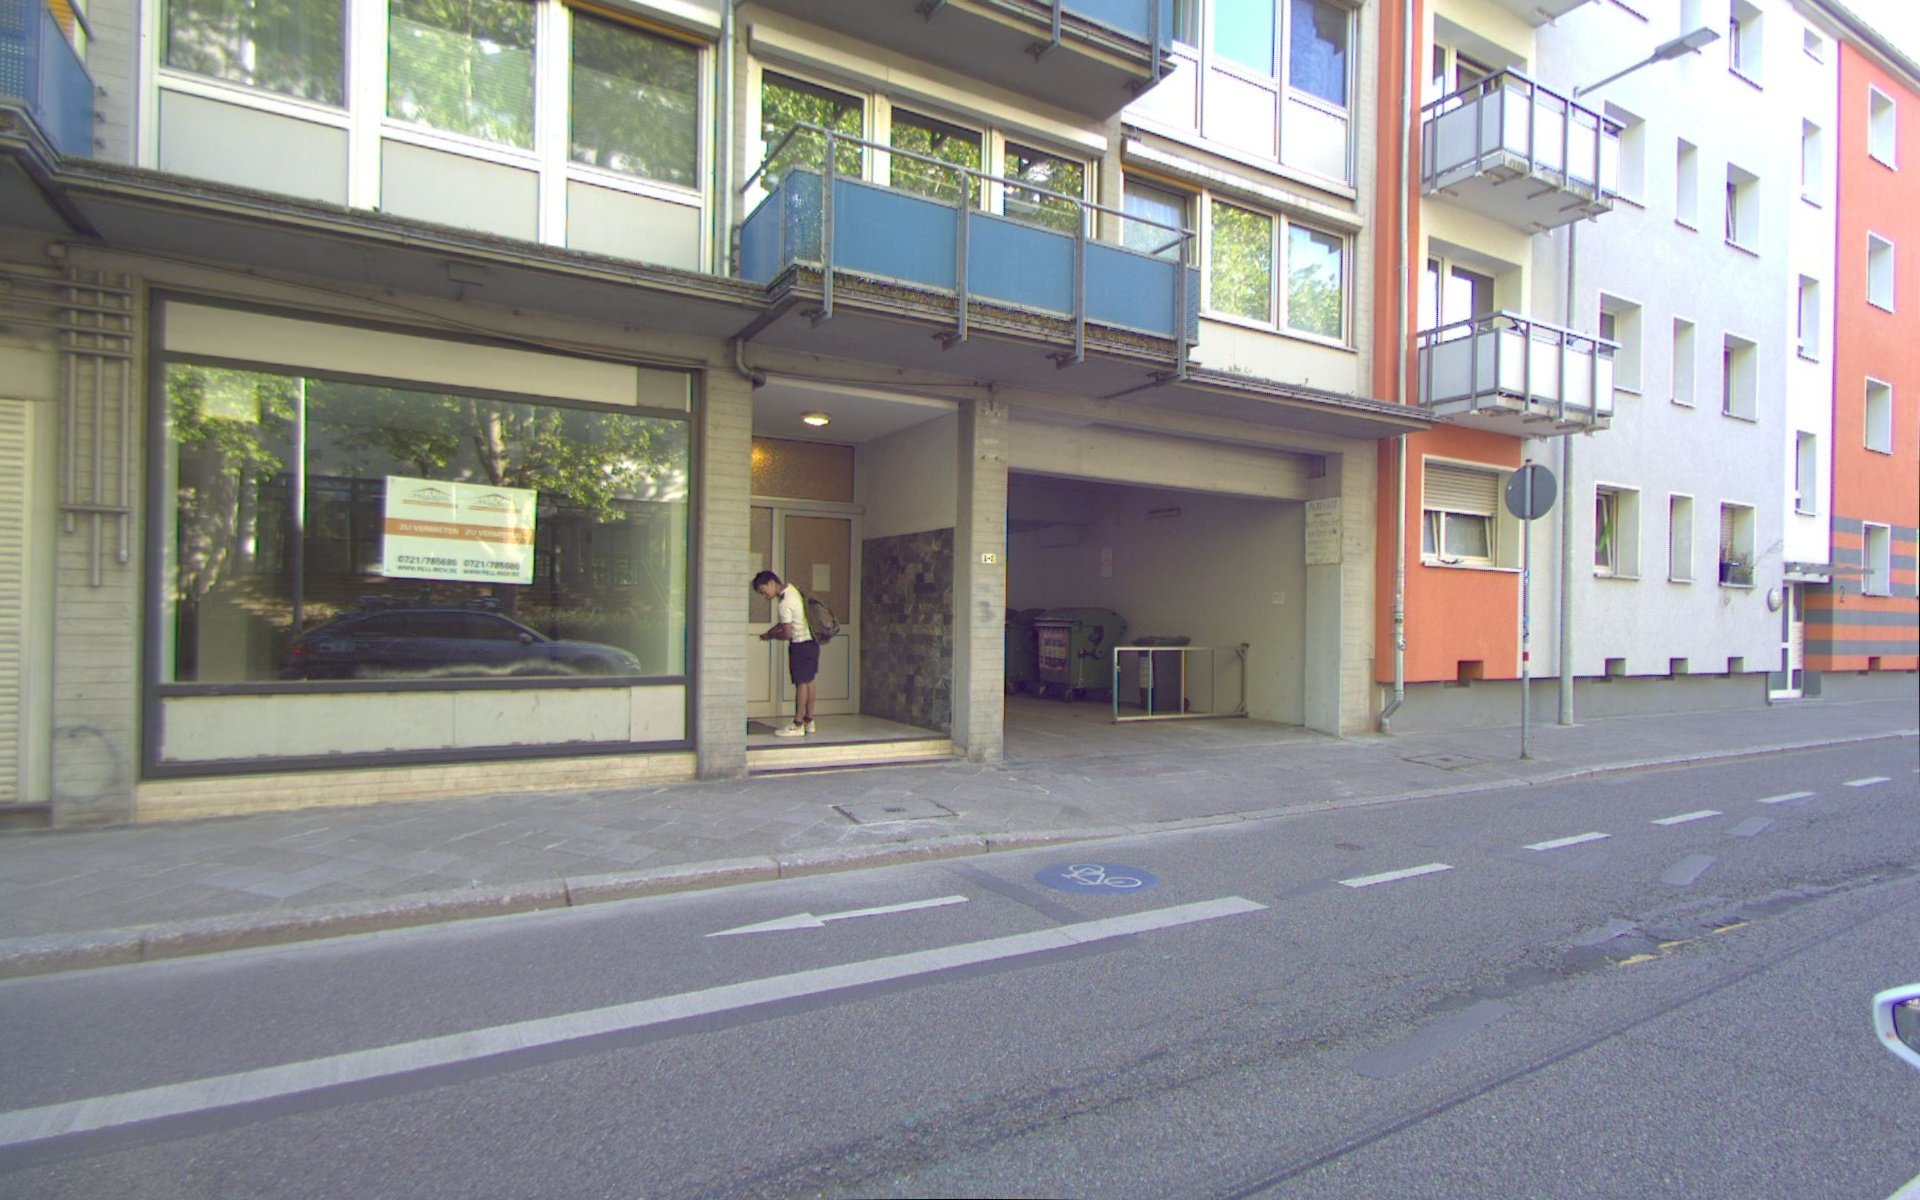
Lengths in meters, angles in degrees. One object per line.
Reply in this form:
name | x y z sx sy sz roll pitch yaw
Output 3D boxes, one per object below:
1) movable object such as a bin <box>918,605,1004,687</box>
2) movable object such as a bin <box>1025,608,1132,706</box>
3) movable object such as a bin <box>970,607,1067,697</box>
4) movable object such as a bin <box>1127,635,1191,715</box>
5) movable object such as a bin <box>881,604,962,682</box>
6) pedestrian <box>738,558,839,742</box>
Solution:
movable object such as a bin | 0.008 0.830 18.687 1.120 1.444 1.268 2 0 -28
movable object such as a bin | 1.855 0.872 15.802 1.120 1.444 1.268 2 0 -28
movable object such as a bin | 0.988 0.859 17.144 1.120 1.444 1.268 2 0 -28
movable object such as a bin | 2.867 1.071 14.478 0.713 1.094 0.533 2 0 -29
movable object such as a bin | -0.762 0.833 19.779 1.120 1.444 1.268 2 0 -28
pedestrian | -1.588 0.453 9.443 0.821 1.639 0.793 2 0 -4
